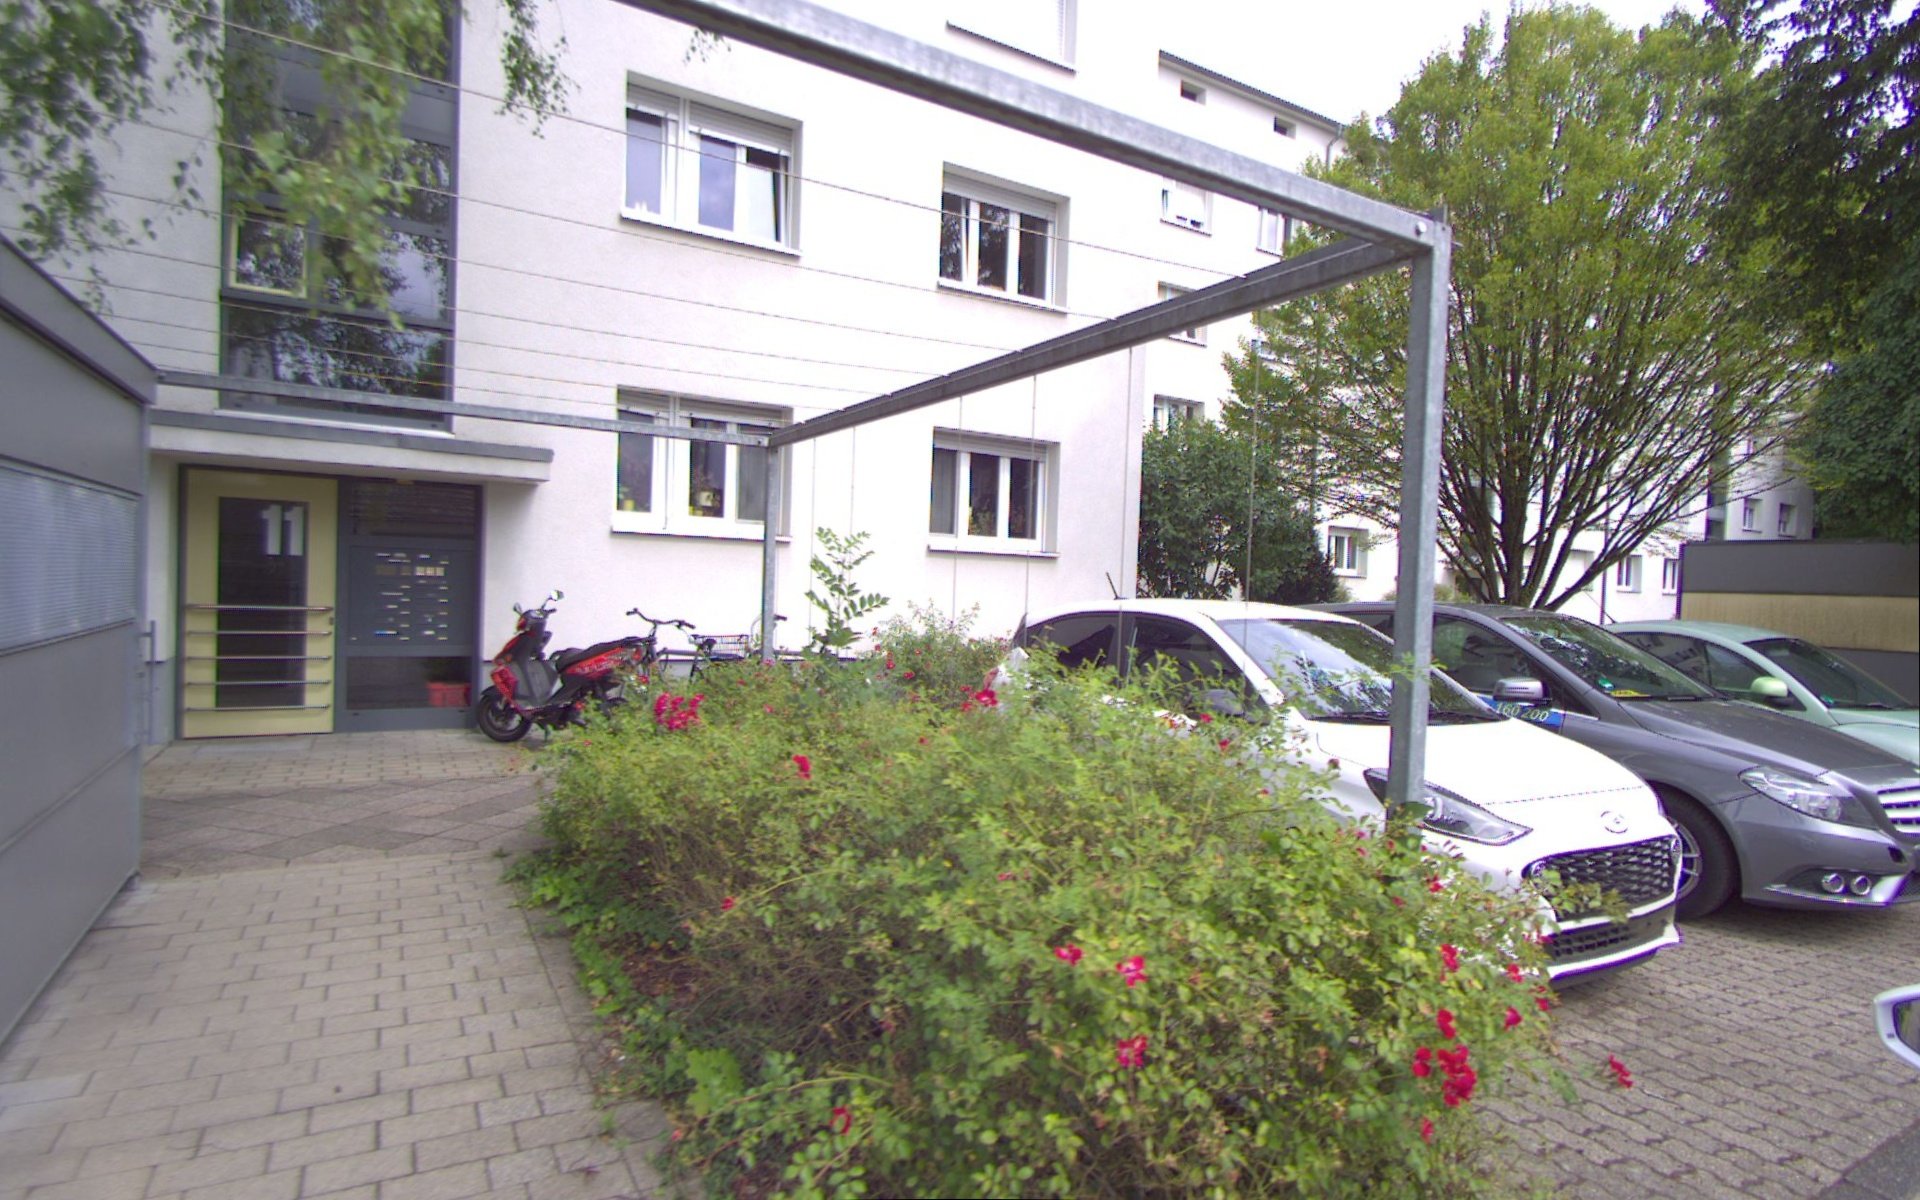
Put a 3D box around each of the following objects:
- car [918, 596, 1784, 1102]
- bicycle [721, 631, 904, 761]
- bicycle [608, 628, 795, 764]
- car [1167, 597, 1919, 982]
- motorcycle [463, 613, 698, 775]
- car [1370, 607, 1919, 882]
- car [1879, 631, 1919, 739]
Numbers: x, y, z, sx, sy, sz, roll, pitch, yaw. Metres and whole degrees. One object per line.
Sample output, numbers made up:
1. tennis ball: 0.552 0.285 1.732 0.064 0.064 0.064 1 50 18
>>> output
1. car: 1.485 0.776 5.240 1.774 1.479 3.968 1 0 -30
2. bicycle: -1.363 0.829 9.164 1.638 1.017 0.576 2 1 31
3. bicycle: -2.279 0.794 8.790 1.638 1.017 0.576 2 1 31
4. car: 3.524 0.802 6.532 1.819 1.522 4.391 1 0 -30
5. motorcycle: -3.097 0.707 8.165 1.864 1.138 0.676 2 1 26
6. car: 5.651 0.887 7.775 1.819 1.522 4.391 1 0 -30
7. car: 14.817 1.237 13.011 1.718 1.483 3.967 2 0 -30
